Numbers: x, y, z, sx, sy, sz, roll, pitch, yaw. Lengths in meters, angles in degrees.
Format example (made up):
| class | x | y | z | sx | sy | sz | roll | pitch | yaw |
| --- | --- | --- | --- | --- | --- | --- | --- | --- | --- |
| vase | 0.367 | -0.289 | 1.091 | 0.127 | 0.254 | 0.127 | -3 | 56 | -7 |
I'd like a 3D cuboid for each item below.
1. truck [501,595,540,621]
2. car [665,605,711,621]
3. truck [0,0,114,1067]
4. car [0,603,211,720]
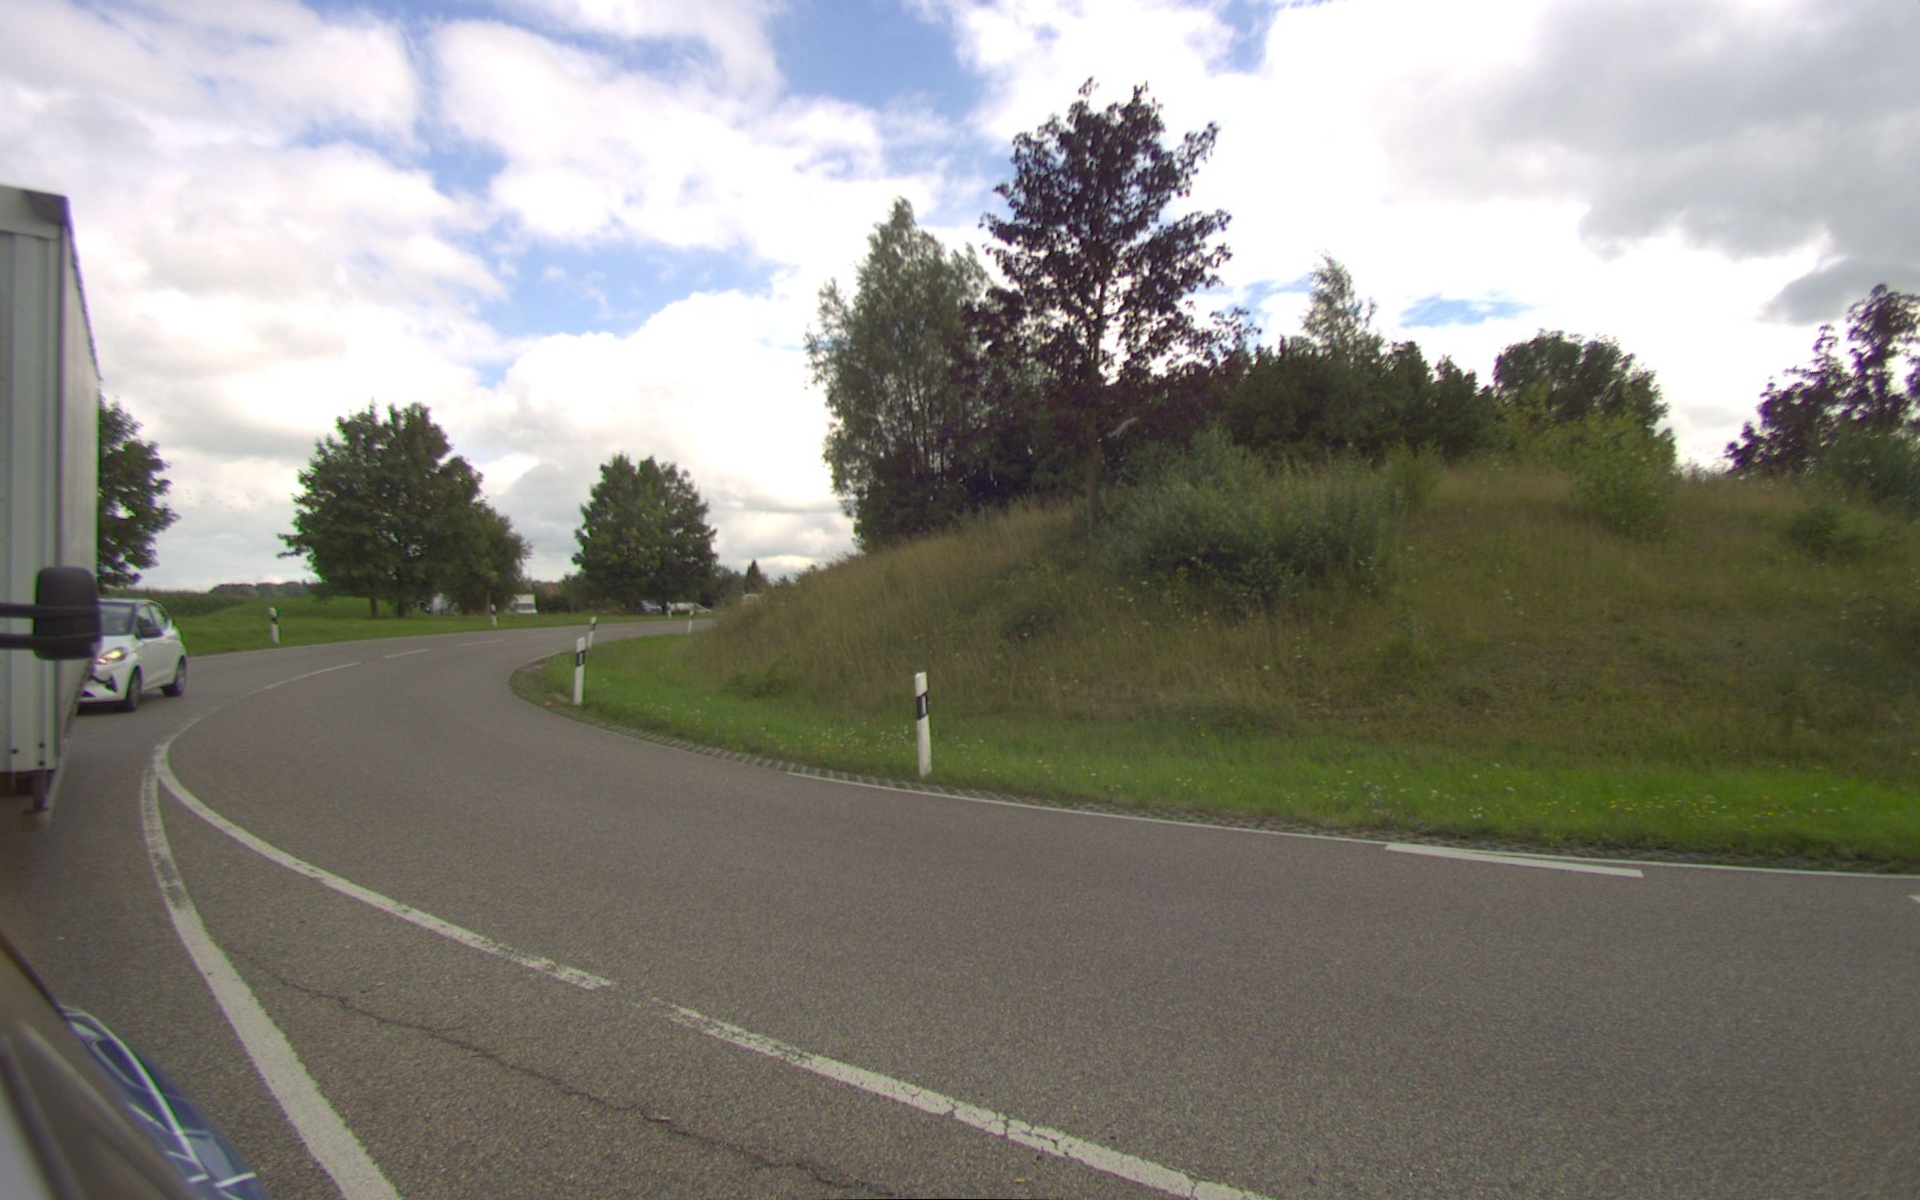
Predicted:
| class | x | y | z | sx | sy | sz | roll | pitch | yaw |
| --- | --- | --- | --- | --- | --- | --- | --- | --- | --- |
| truck | -43.552 | 0.802 | 100.187 | 2.254 | 2.439 | 6.398 | -1 | 0 | -35 |
| car | -28.453 | 1.339 | 105.842 | 4.328 | 1.597 | 2.007 | -1 | -1 | -24 |
| truck | -6.730 | -0.421 | 5.830 | 2.794 | 3.792 | 8.814 | 1 | -1 | -40 |
| car | -12.638 | 0.827 | 15.088 | 1.721 | 1.477 | 4.013 | -1 | -1 | -27 |
